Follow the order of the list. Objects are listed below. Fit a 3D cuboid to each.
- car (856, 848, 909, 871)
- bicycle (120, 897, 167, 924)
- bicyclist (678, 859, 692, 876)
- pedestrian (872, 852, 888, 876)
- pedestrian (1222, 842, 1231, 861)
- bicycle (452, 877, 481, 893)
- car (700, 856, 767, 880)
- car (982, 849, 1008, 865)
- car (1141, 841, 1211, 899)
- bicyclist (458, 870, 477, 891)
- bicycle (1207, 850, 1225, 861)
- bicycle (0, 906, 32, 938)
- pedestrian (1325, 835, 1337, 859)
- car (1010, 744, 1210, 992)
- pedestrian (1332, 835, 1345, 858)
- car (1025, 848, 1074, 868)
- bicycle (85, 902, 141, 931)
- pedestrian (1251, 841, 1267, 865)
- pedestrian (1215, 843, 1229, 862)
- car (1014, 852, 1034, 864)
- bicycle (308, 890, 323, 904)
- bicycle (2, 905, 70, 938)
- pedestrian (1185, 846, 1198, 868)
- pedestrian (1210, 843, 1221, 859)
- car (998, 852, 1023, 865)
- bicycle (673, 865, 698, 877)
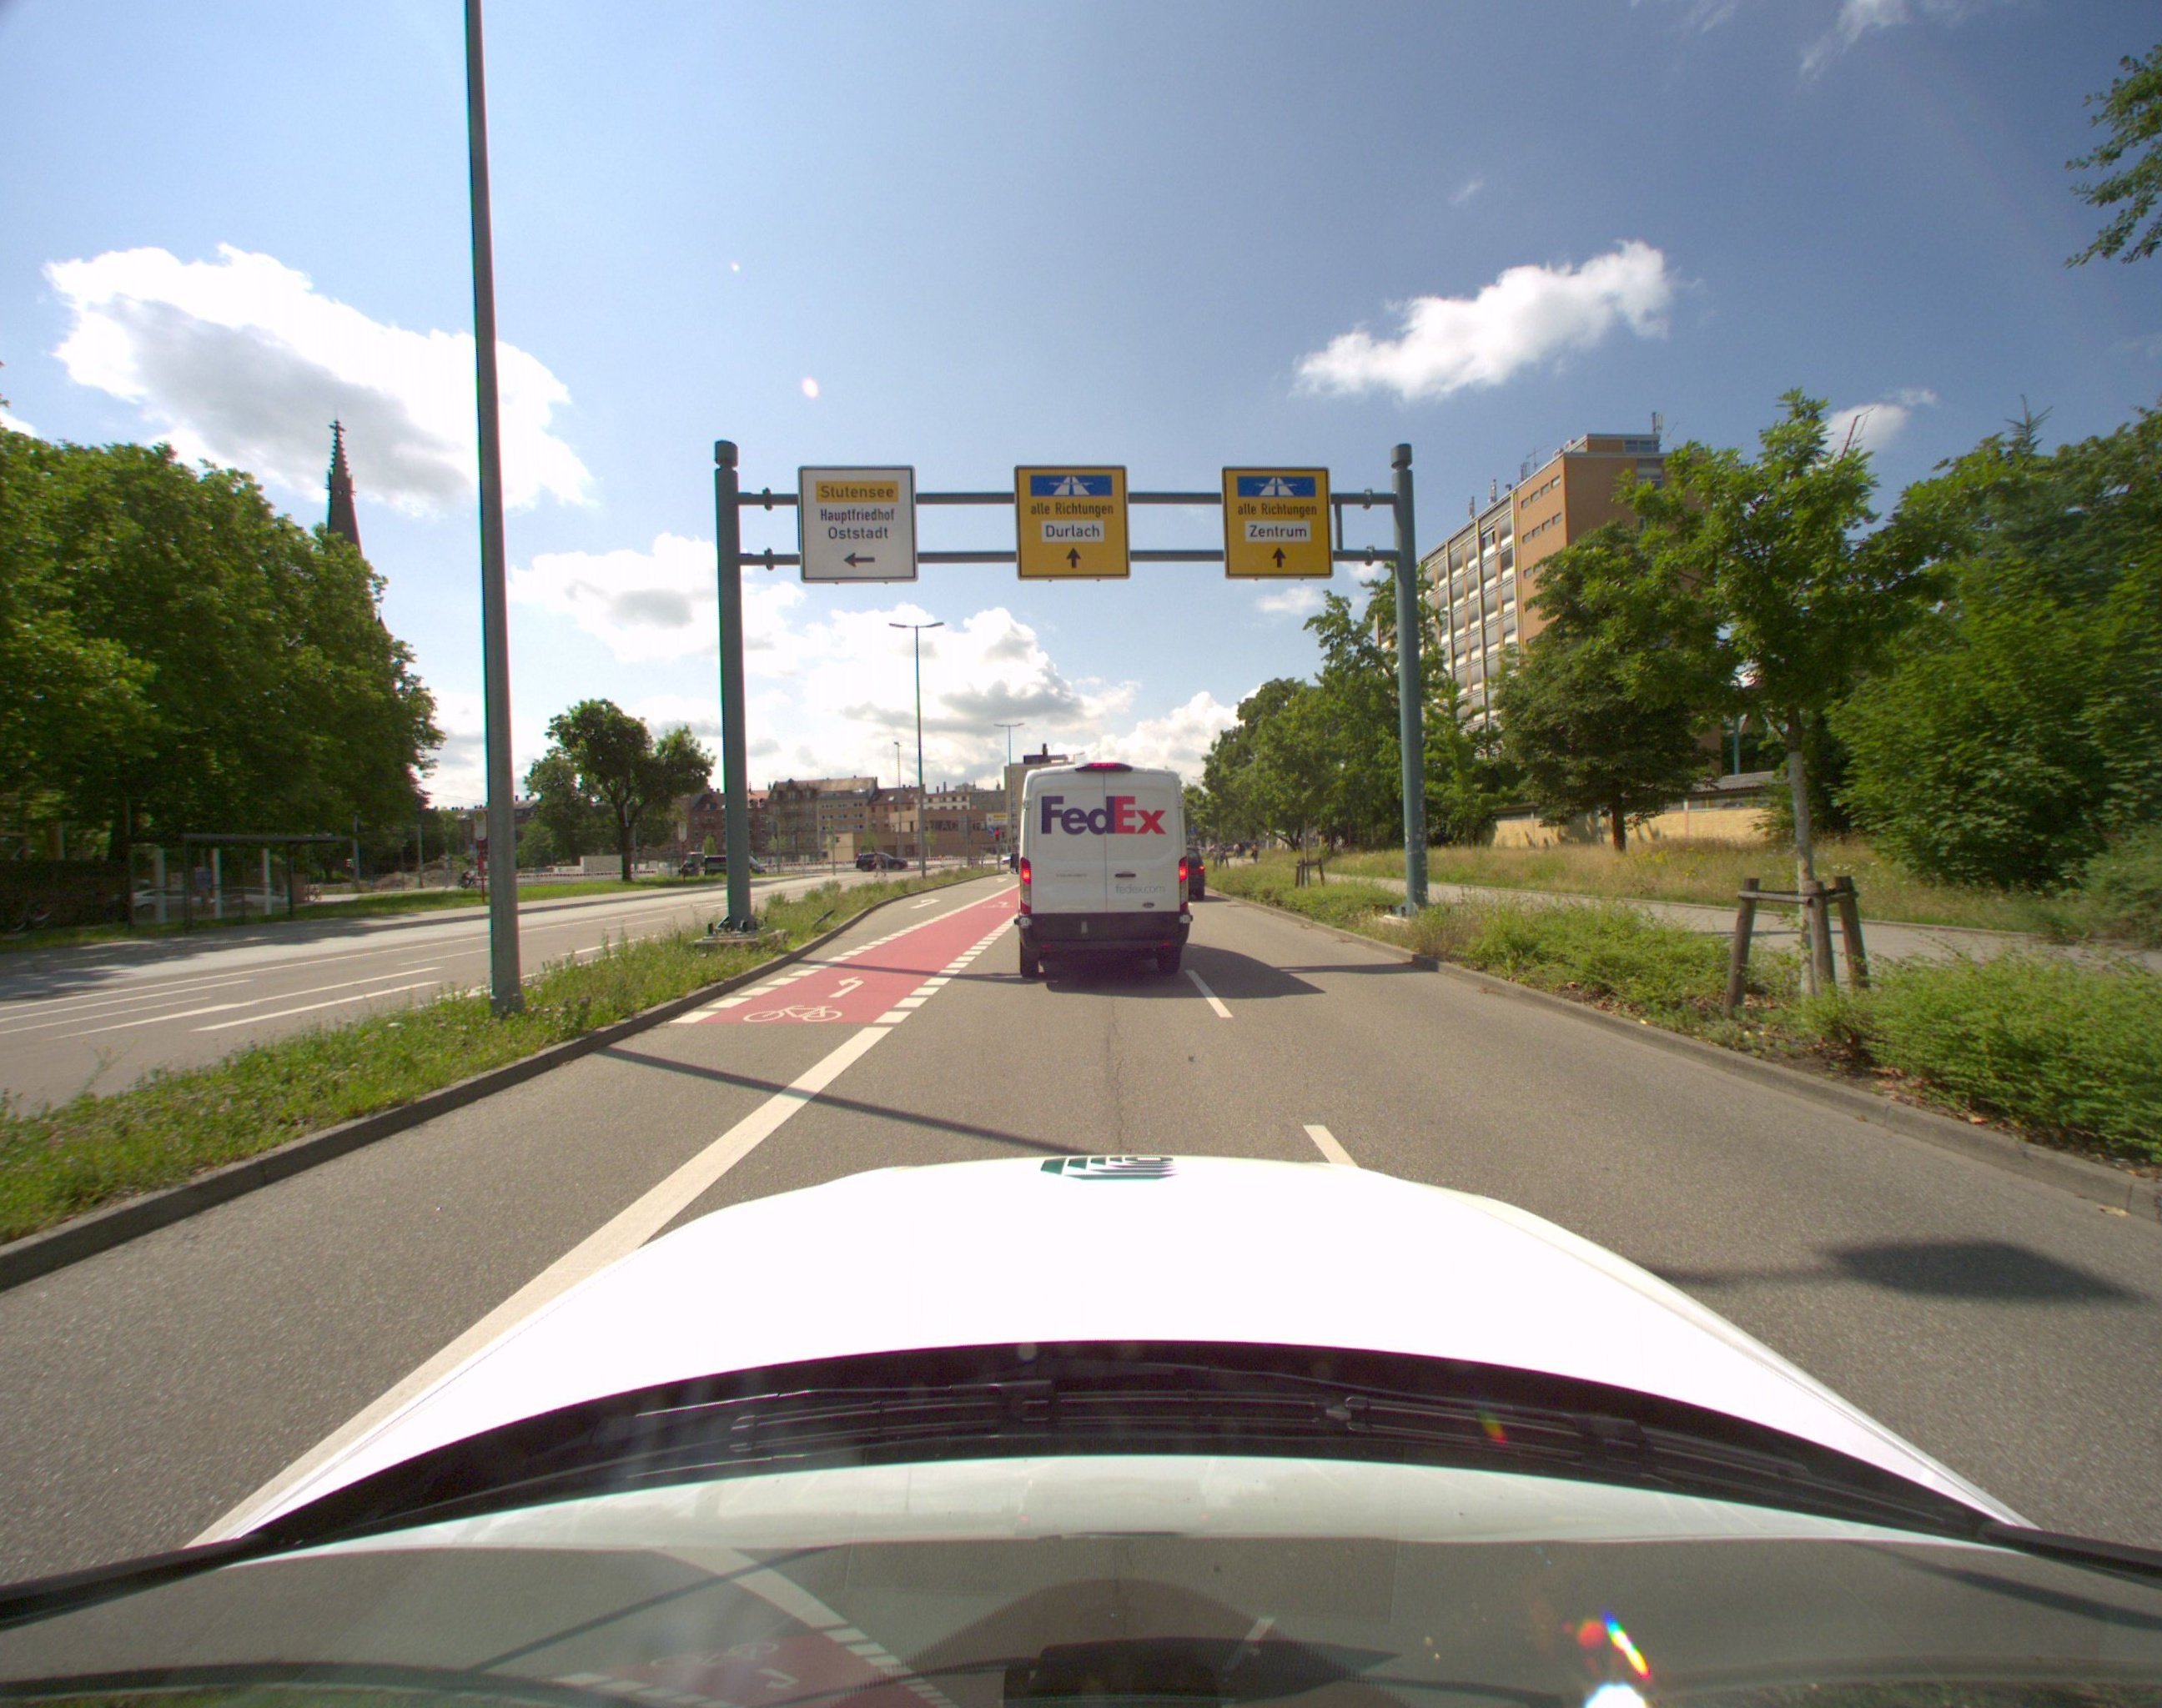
[{"bbox_3d":[-18.974,0.566,78.024,4.620,2.014,2.096,-2,0,-5],"label":"car"},{"bbox_3d":[-36.041,2.154,31.318,0.546,0.902,1.651,-2,0,-25],"label":"bicycle"},{"bbox_3d":[-36.412,1.239,74.864,0.967,1.474,0.550,-2,0,-7],"label":"bicyclist"},{"bbox_3d":[-13.730,0.691,55.648,0.880,1.560,0.549,-2,0,-40],"label":"pedestrian"},{"bbox_3d":[14.677,-0.301,82.141,0.671,1.892,0.579,-2,0,44],"label":"pedestrian"},{"bbox_3d":[-55.636,2.813,73.756,2.062,1.290,0.603,-2,0,-8],"label":"bicycle"},{"bbox_3d":[-30.738,1.216,72.195,4.998,1.879,1.927,-2,1,-4],"label":"car"},{"bbox_3d":[-11.045,0.414,105.354,1.979,2.013,4.016,-2,0,15],"label":"car"},{"bbox_3d":[3.078,0.476,27.097,1.806,1.734,4.388,-1,0,0],"label":"car"},{"bbox_3d":[-55.575,2.399,73.765,1.118,1.844,0.592,-2,1,-7],"label":"bicyclist"},{"bbox_3d":[12.635,0.158,76.261,1.557,0.955,0.488,-2,0,19],"label":"bicycle"},{"bbox_3d":[-32.873,2.081,24.657,0.545,0.902,1.654,-2,0,-21],"label":"bicycle"},{"bbox_3d":[22.430,-0.627,73.111,0.837,2.058,0.745,-2,0,28],"label":"pedestrian"},{"bbox_3d":[0.145,0.120,11.816,2.136,2.652,5.696,-2,0,-4],"label":"car"},{"bbox_3d":[23.505,-0.661,74.212,0.740,2.058,0.843,-2,0,-16],"label":"pedestrian"},{"bbox_3d":[-3.146,0.390,80.390,4.373,1.794,1.986,-2,0,-21],"label":"car"},{"bbox_3d":[-35.046,2.254,29.500,0.545,0.902,1.654,-2,0,-21],"label":"bicycle"},{"bbox_3d":[11.618,-0.091,53.270,0.842,1.539,0.835,-2,0,0],"label":"pedestrian"},{"bbox_3d":[10.496,-0.119,60.531,0.842,1.389,0.741,-2,0,0],"label":"pedestrian"},{"bbox_3d":[-7.672,0.533,110.510,1.868,1.652,4.009,-2,0,8],"label":"car"},{"bbox_3d":[-51.334,2.860,54.609,1.644,0.902,0.549,-2,0,42],"label":"bicycle"},{"bbox_3d":[-33.653,2.147,26.249,0.453,0.902,1.782,-2,0,-20],"label":"bicycle"},{"bbox_3d":[9.426,0.245,69.307,0.947,1.892,0.774,-2,0,0],"label":"pedestrian"},{"bbox_3d":[12.587,-0.240,76.266,0.891,1.472,0.488,-2,0,19],"label":"pedestrian"},{"bbox_3d":[-9.048,0.550,104.315,1.887,1.585,4.016,-2,0,14],"label":"car"},{"bbox_3d":[-36.356,1.589,74.858,1.919,1.030,0.546,-2,0,-8],"label":"bicycle"}]
